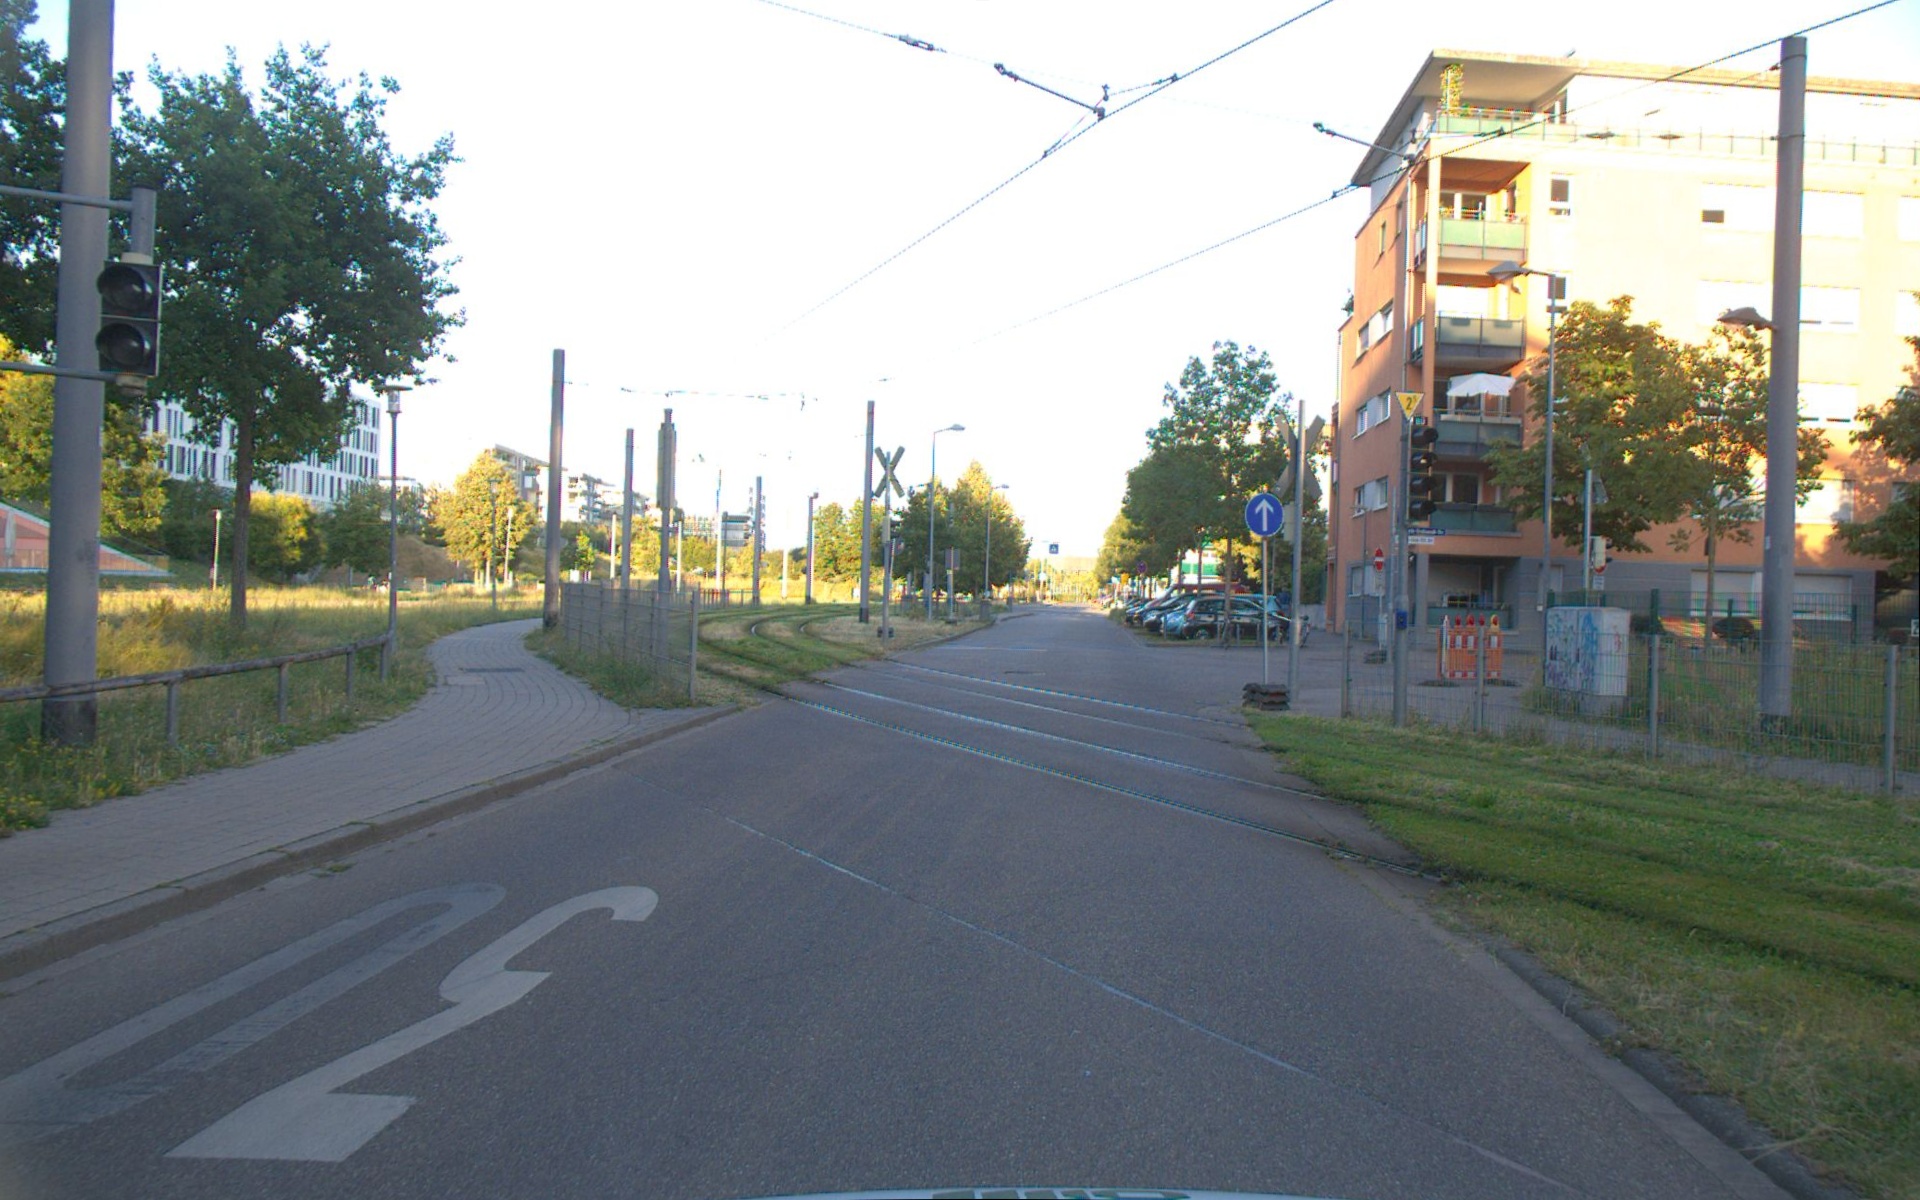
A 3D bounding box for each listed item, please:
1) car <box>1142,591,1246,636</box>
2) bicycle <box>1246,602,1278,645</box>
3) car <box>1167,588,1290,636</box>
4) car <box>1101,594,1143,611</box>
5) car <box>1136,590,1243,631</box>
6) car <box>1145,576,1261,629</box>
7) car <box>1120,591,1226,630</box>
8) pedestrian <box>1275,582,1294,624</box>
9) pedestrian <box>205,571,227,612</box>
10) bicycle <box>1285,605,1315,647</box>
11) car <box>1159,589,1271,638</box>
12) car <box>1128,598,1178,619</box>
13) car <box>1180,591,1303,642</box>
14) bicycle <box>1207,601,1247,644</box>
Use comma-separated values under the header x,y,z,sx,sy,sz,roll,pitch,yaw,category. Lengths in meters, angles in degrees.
x,y,z,sx,sy,sz,roll,pitch,yaw,category
8.670,0.507,61.429,3.694,1.522,1.539,2,-2,4,car
8.939,0.688,48.935,0.664,1.172,1.929,0,2,2,bicycle
9.058,0.398,55.985,3.965,1.596,1.674,0,0,4,car
17.151,0.268,175.147,4.390,1.624,2.001,1,0,5,car
9.107,0.427,65.949,4.127,1.596,1.793,0,0,4,car
10.404,0.097,71.158,4.816,2.154,2.018,1,0,5,car
9.546,0.462,74.367,4.571,1.584,1.812,1,0,3,car
13.908,0.112,70.851,0.654,1.773,0.700,1,0,4,pedestrian
-38.559,-0.439,85.737,0.603,2.118,0.791,3,0,3,pedestrian
10.152,0.773,49.489,0.518,1.146,1.964,3,2,2,bicycle
9.023,0.453,58.792,3.795,1.596,1.621,2,0,4,car
14.855,0.673,127.491,3.723,1.535,1.679,1,0,2,car
9.081,0.523,53.502,3.673,1.499,1.613,2,0,-1,car
7.913,0.664,49.158,0.703,1.172,1.896,0,2,-6,bicycle
